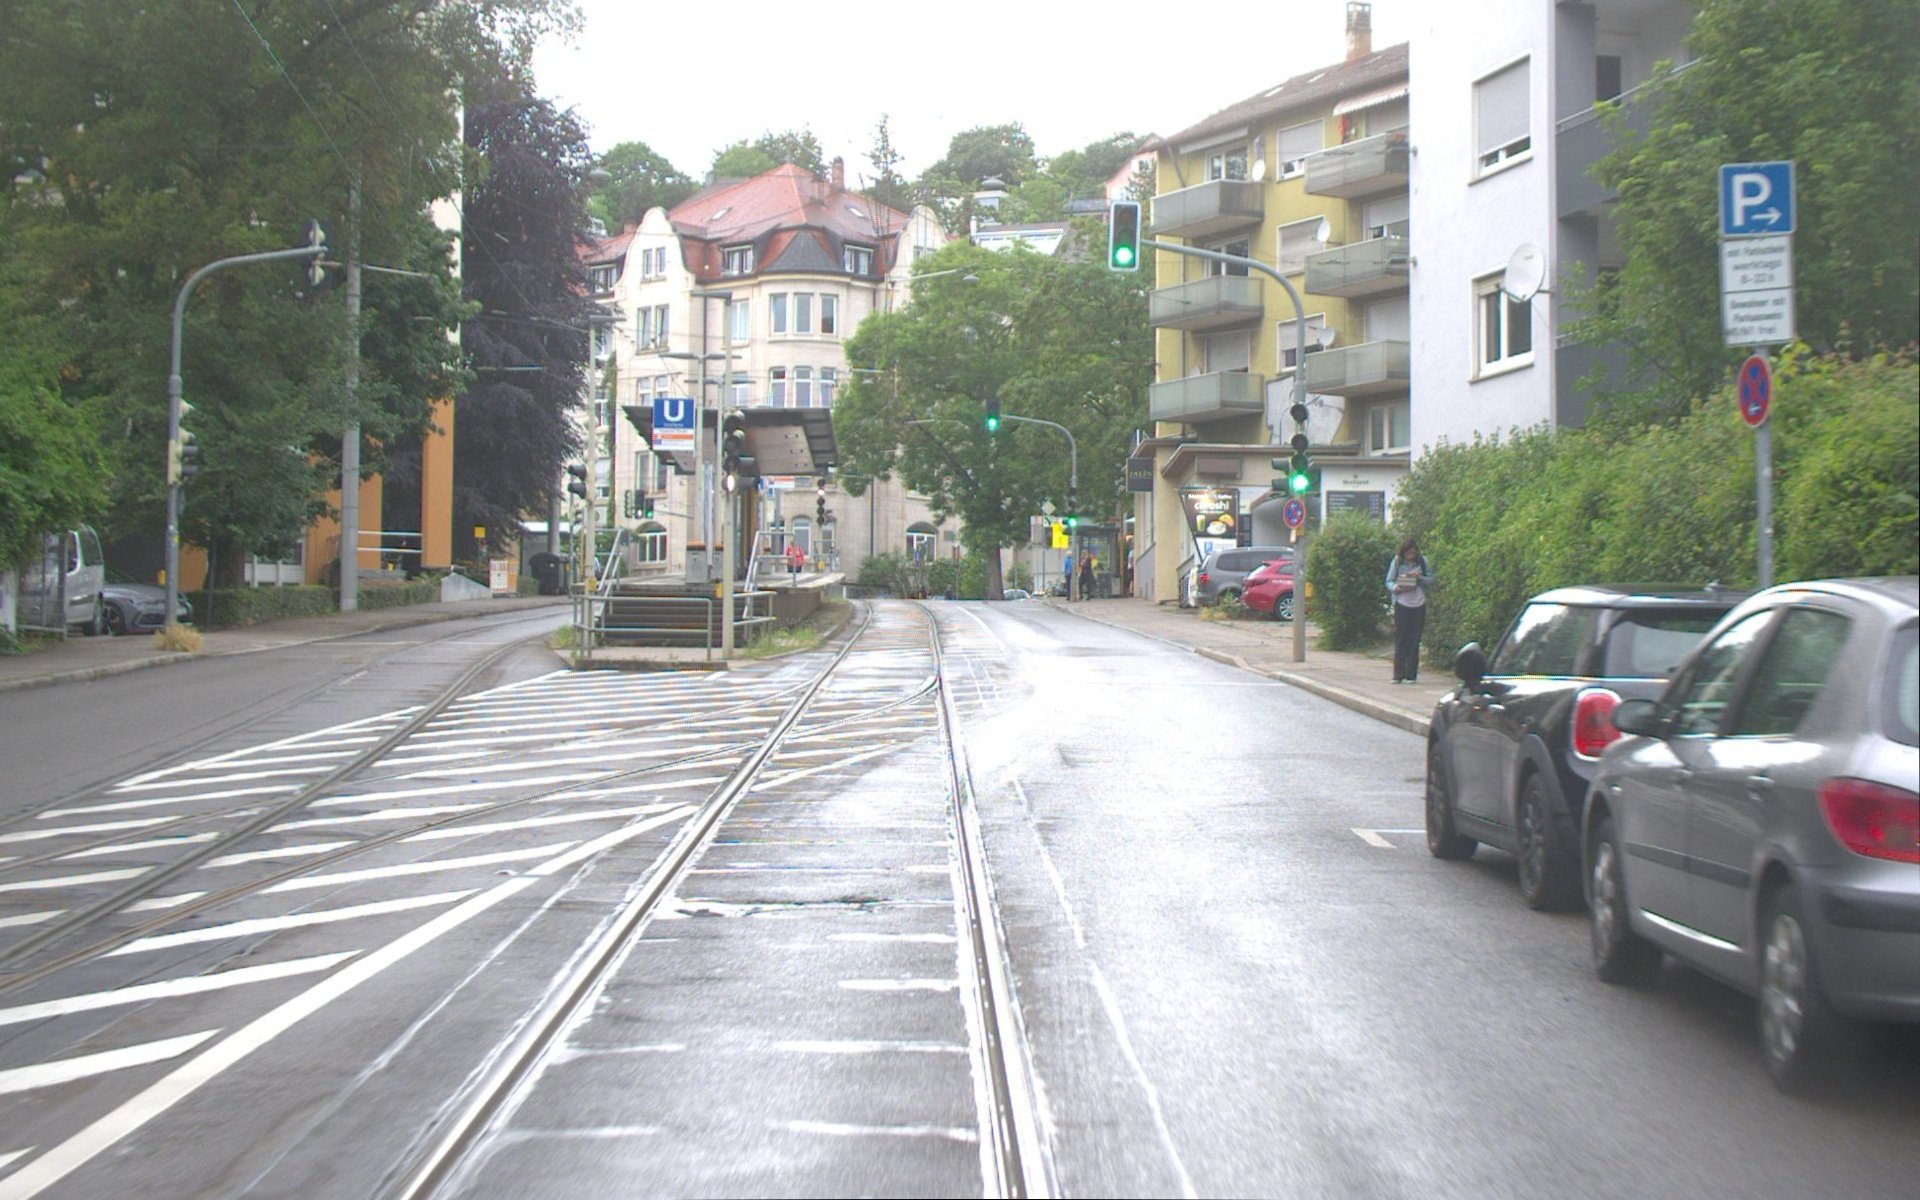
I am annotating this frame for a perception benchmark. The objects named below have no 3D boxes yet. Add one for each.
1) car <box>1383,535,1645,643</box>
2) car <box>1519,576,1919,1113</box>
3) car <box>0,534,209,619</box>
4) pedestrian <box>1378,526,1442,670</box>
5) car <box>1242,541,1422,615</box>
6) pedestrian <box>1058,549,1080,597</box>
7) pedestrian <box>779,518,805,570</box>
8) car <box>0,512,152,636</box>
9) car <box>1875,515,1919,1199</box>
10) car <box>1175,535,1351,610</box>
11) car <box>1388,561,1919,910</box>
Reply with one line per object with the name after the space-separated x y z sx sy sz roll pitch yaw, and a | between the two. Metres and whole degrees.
9.158 -0.164 57.056 3.986 1.640 1.808 1 -2 -2 | car
3.114 0.664 11.299 1.704 1.423 4.251 2 0 -2 | car
-15.583 -0.406 61.326 3.991 1.401 1.680 0 -4 22 | car
5.156 -0.014 39.409 0.644 1.623 0.699 1 -1 2 | pedestrian
8.503 -0.484 78.725 3.841 1.537 1.808 1 -2 -2 | car
3.438 -0.845 108.901 0.578 1.462 0.544 2 -3 -8 | pedestrian
-4.926 -1.634 100.777 0.657 1.462 0.772 1 -3 2 | pedestrian
-14.309 -0.385 54.248 1.993 1.678 3.999 1 -3 2 | car
3.206 0.666 5.802 1.906 1.636 4.690 2 0 -2 | car
7.248 -0.644 82.432 3.987 1.640 1.807 1 -2 -1 | car
3.213 0.563 16.460 1.704 1.421 3.862 2 0 -2 | car
